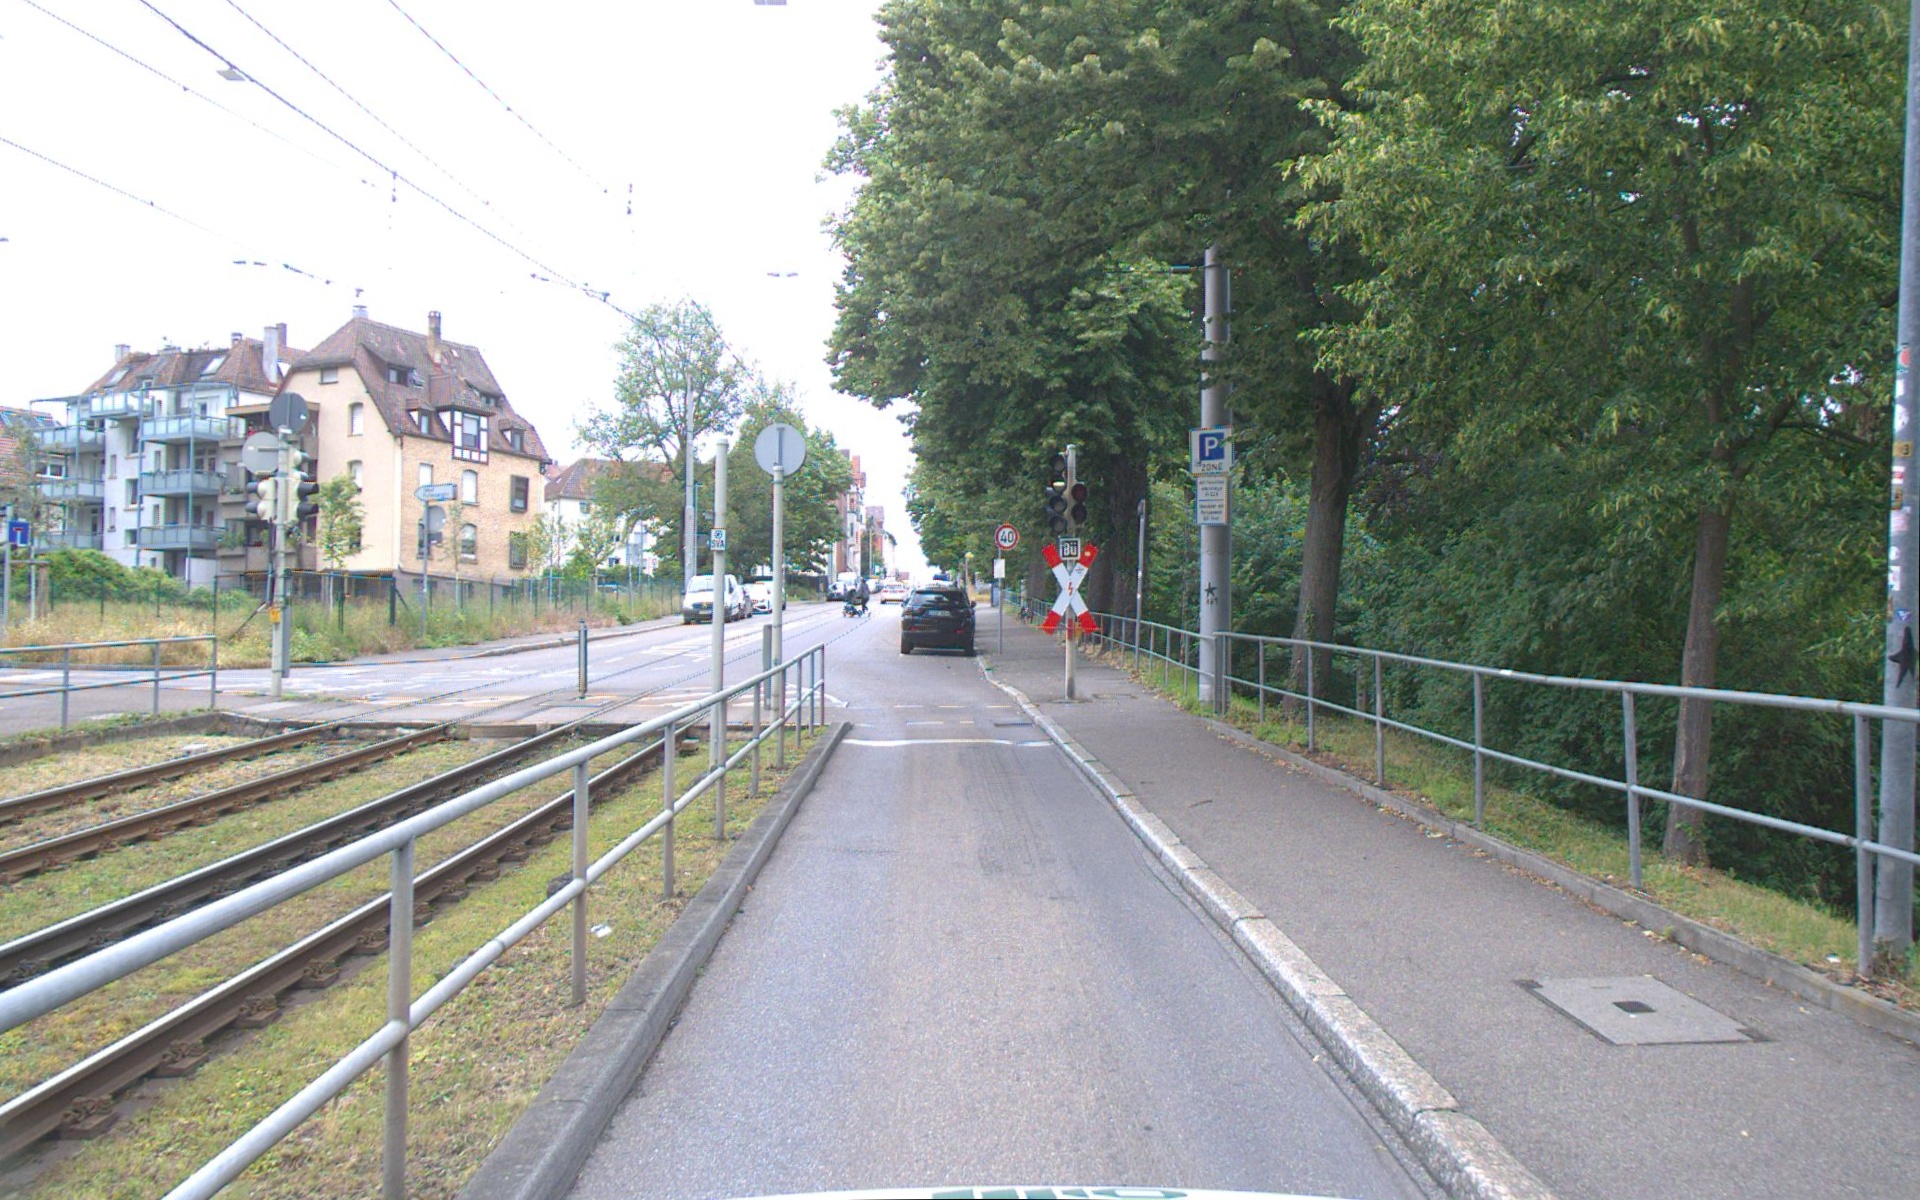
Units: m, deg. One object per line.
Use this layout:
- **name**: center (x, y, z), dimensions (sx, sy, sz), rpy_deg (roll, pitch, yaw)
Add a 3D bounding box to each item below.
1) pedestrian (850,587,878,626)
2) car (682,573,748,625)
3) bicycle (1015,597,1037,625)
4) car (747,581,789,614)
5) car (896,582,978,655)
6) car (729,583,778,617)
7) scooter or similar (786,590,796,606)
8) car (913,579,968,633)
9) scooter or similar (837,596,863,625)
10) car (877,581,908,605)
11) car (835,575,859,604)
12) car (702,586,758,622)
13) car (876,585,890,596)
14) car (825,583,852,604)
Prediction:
- **pedestrian**: center (-4.085, 0.268, 70.442), dimensions (0.900, 1.657, 0.803), rpy_deg (0, -1, 41)
- **car**: center (-9.788, -0.020, 66.380), dimensions (1.995, 1.914, 4.883), rpy_deg (-2, 0, -2)
- **bicycle**: center (2.379, 0.380, 59.681), dimensions (0.419, 0.993, 1.790), rpy_deg (1, 0, -10)
- **car**: center (-10.023, -0.142, 86.515), dimensions (1.688, 1.607, 4.180), rpy_deg (-1, 0, 0)
- **car**: center (-0.518, 0.417, 40.838), dimensions (1.865, 1.643, 4.600), rpy_deg (1, 0, 1)
- **car**: center (-10.026, -0.019, 80.671), dimensions (1.846, 1.552, 4.663), rpy_deg (-1, 0, -1)
- **scooter or similar**: center (-14.499, -0.168, 141.750), dimensions (0.676, 1.362, 1.639), rpy_deg (1, 0, 0)
- **car**: center (-0.712, 0.167, 56.585), dimensions (1.692, 1.659, 4.086), rpy_deg (4, 0, -2)
- **scooter or similar**: center (-4.720, 0.455, 70.978), dimensions (0.824, 1.217, 0.803), rpy_deg (0, -1, 41)
- **car**: center (-4.624, -0.466, 113.524), dimensions (1.953, 1.525, 4.311), rpy_deg (1, 0, -1)
- **car**: center (-11.003, -1.004, 161.409), dimensions (2.186, 2.812, 5.796), rpy_deg (1, 0, -3)
- **car**: center (-10.041, 0.164, 72.370), dimensions (1.857, 1.457, 4.511), rpy_deg (-1, 1, -1)
- **car**: center (-11.443, -1.374, 244.766), dimensions (1.953, 1.629, 3.999), rpy_deg (1, 0, -1)
- **car**: center (-10.782, -0.578, 146.920), dimensions (1.952, 1.840, 4.000), rpy_deg (1, 0, 1)
